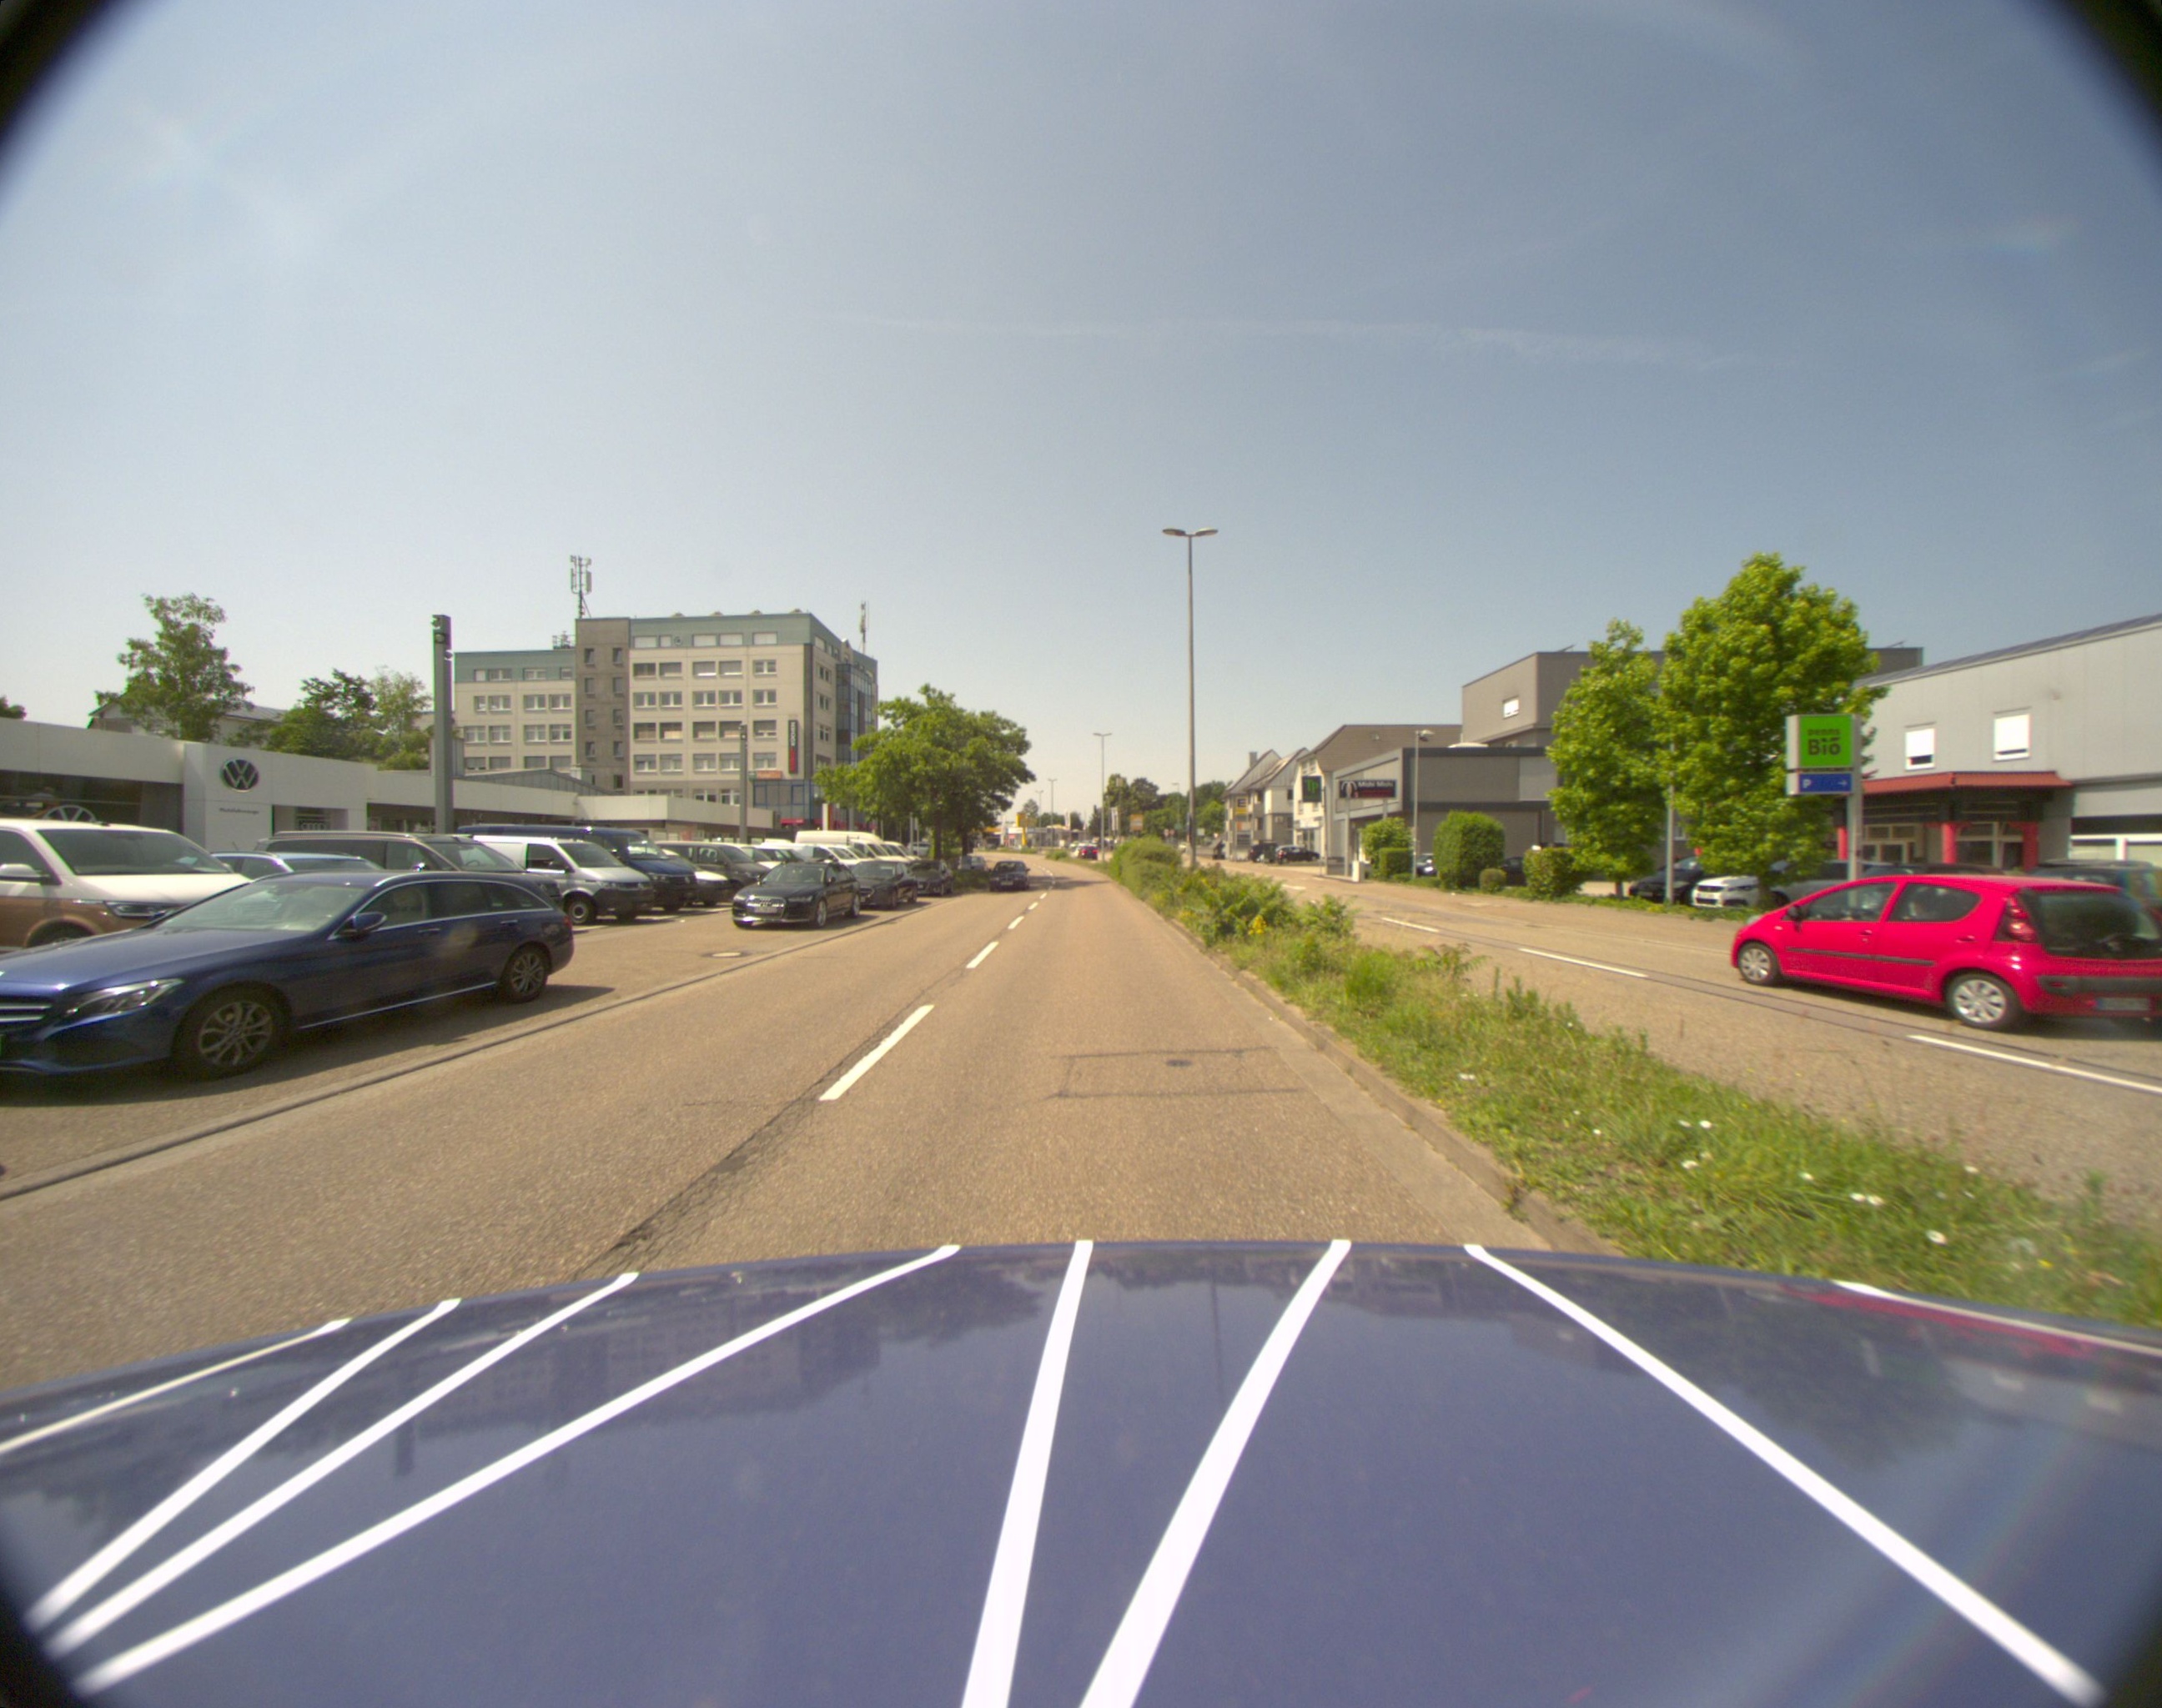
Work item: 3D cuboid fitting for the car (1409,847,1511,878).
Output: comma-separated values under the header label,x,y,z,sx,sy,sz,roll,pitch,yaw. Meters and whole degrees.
label,x,y,z,sx,sy,sz,roll,pitch,yaw
car,17.989,0.385,36.177,4.006,1.363,1.669,1,0,3

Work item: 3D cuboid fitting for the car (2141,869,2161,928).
label,x,y,z,sx,sy,sz,roll,pitch,yaw
car,29.156,1.178,18.446,3.985,1.459,2.072,1,1,-2

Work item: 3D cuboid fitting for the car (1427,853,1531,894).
label,x,y,z,sx,sy,sz,roll,pitch,yaw
car,16.788,0.813,32.161,3.489,1.521,1.777,-2,2,1

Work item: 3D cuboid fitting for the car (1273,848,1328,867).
label,x,y,z,sx,sy,sz,roll,pitch,yaw
car,18.493,0.266,64.151,4.068,1.512,1.999,0,2,-3

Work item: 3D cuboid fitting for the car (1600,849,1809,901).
label,x,y,z,sx,sy,sz,roll,pitch,yaw
car,17.255,0.560,21.189,4.159,1.334,2.042,1,0,-2

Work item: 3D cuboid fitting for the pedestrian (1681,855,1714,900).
label,x,y,z,sx,sy,sz,roll,pitch,yaw
pedestrian,22.028,0.837,27.158,0.581,1.570,0.703,-2,3,-1

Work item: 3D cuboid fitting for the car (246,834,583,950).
label,x,y,z,sx,sy,sz,roll,pitch,yaw
car,-12.730,0.716,14.746,4.798,1.972,2.004,-1,-1,1

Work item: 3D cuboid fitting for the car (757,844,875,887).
label,x,y,z,sx,sy,sz,roll,pitch,yaw
car,-12.741,0.505,36.744,4.925,1.960,2.141,1,1,1

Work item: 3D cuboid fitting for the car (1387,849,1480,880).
label,x,y,z,sx,sy,sz,roll,pitch,yaw
car,17.879,0.523,38.613,3.998,1.451,1.574,0,2,-4

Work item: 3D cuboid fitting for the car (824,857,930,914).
label,x,y,z,sx,sy,sz,roll,pitch,yaw
car,-6.441,0.921,24.618,1.966,1.521,5.160,2,0,0

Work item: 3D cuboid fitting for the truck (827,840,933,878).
label,x,y,z,sx,sy,sz,roll,pitch,yaw
truck,-13.044,0.325,49.638,6.260,2.323,2.369,1,0,2

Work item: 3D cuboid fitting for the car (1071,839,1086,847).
label,x,y,z,sx,sy,sz,roll,pitch,yaw
car,-0.426,-2.204,149.078,1.754,1.501,3.823,-1,2,17

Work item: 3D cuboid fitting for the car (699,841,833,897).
label,x,y,z,sx,sy,sz,roll,pitch,yaw
car,-12.815,0.566,31.101,4.520,2.002,2.197,2,2,1

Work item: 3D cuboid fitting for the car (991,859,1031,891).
label,x,y,z,sx,sy,sz,roll,pitch,yaw
car,-3.206,0.944,35.319,1.698,1.365,3.999,-1,0,-4

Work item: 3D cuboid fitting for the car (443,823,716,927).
label,x,y,z,sx,sy,sz,roll,pitch,yaw
car,-13.321,0.503,20.464,5.856,2.510,2.204,-2,2,3

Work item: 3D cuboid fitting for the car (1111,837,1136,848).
label,x,y,z,sx,sy,sz,roll,pitch,yaw
car,7.837,-2.085,140.532,4.300,1.891,1.831,1,3,19

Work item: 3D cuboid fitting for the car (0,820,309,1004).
label,x,y,z,sx,sy,sz,roll,pitch,yaw
car,-12.815,0.614,9.317,4.652,2.002,1.960,1,0,0

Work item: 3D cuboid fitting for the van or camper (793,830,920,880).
label,x,y,z,sx,sy,sz,roll,pitch,yaw
van or camper,-13.225,0.065,45.085,6.814,2.881,2.275,0,1,0

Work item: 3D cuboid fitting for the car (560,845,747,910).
label,x,y,z,sx,sy,sz,roll,pitch,yaw
car,-12.908,0.687,23.155,4.579,1.840,1.951,1,0,0

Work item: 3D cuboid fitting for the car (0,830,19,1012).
label,x,y,z,sx,sy,sz,roll,pitch,yaw
car,-12.585,0.659,6.530,4.161,1.771,1.880,1,2,0

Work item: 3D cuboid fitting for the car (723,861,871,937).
label,x,y,z,sx,sy,sz,roll,pitch,yaw
car,-6.707,0.980,18.646,1.860,1.472,5.154,2,0,-3

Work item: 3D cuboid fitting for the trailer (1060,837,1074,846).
label,x,y,z,sx,sy,sz,roll,pitch,yaw
trailer,-2.819,-2.426,152.279,1.689,1.694,2.438,0,2,29

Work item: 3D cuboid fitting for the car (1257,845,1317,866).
label,x,y,z,sx,sy,sz,roll,pitch,yaw
car,18.105,0.100,66.845,4.620,1.488,1.751,-4,1,-8

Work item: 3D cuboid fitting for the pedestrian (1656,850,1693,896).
label,x,y,z,sx,sy,sz,roll,pitch,yaw
pedestrian,21.113,0.657,27.045,0.643,1.576,0.825,-2,3,-1

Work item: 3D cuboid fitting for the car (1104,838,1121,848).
label,x,y,z,sx,sy,sz,roll,pitch,yaw
car,5.880,-2.152,142.657,1.847,1.714,4.006,-2,3,-18

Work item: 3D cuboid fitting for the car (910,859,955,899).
label,x,y,z,sx,sy,sz,roll,pitch,yaw
car,-6.093,0.969,31.255,1.687,1.427,4.434,-1,1,-11

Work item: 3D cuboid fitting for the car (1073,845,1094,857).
label,x,y,z,sx,sy,sz,roll,pitch,yaw
car,0.309,-0.376,94.276,1.869,1.423,4.739,-2,1,-9

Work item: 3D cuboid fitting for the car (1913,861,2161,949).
label,x,y,z,sx,sy,sz,roll,pitch,yaw
car,17.189,0.837,13.100,3.667,1.356,1.780,1,0,1

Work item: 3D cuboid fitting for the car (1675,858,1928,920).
label,x,y,z,sx,sy,sz,roll,pitch,yaw
car,17.267,0.807,18.378,4.234,1.341,1.980,1,0,0

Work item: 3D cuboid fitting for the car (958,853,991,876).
label,x,y,z,sx,sy,sz,roll,pitch,yaw
car,-7.436,0.726,53.378,1.802,1.398,4.319,-2,1,-1

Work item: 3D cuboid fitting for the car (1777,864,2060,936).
label,x,y,z,sx,sy,sz,roll,pitch,yaw
car,17.334,0.916,15.884,3.848,1.326,1.859,1,0,0

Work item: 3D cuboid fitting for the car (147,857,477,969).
label,x,y,z,sx,sy,sz,roll,pitch,yaw
car,-11.999,0.887,12.003,3.638,1.561,1.717,-1,1,6

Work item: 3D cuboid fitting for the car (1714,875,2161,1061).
label,x,y,z,sx,sy,sz,roll,pitch,yaw
car,8.981,1.007,8.090,1.634,1.416,3.450,0,1,1

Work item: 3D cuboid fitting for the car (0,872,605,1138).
label,x,y,z,sx,sy,sz,roll,pitch,yaw
car,-6.897,1.038,7.300,1.718,1.539,4.789,0,1,-2

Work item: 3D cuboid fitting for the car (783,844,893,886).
label,x,y,z,sx,sy,sz,roll,pitch,yaw
car,-12.538,0.561,39.447,4.961,2.101,2.159,0,1,-1

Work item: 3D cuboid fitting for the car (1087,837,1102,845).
label,x,y,z,sx,sy,sz,roll,pitch,yaw
car,2.572,-2.485,143.885,1.712,1.424,3.967,1,3,21

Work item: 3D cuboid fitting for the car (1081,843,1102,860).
label,x,y,z,sx,sy,sz,roll,pitch,yaw
car,1.143,-0.281,87.084,1.914,1.741,4.756,-2,2,-5

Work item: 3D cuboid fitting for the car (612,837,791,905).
label,x,y,z,sx,sy,sz,roll,pitch,yaw
car,-12.653,0.547,25.584,4.912,2.102,2.129,1,0,0

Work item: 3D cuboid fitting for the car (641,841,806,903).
label,x,y,z,sx,sy,sz,roll,pitch,yaw
car,-13.090,0.620,28.036,5.077,2.085,2.040,2,1,0

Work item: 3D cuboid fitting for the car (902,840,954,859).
label,x,y,z,sx,sy,sz,roll,pitch,yaw
car,-15.445,-0.489,76.827,4.745,1.704,1.995,-3,3,-25

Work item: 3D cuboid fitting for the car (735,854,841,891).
label,x,y,z,sx,sy,sz,roll,pitch,yaw
car,-13.083,0.802,34.153,4.035,1.462,1.913,2,0,-6

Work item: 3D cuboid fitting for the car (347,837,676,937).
label,x,y,z,sx,sy,sz,roll,pitch,yaw
car,-12.962,0.727,17.615,5.908,2.001,2.259,-2,-1,1

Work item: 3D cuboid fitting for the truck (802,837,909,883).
label,x,y,z,sx,sy,sz,roll,pitch,yaw
truck,-12.466,0.301,42.246,5.259,2.422,2.111,1,1,2

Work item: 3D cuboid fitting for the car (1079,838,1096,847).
label,x,y,z,sx,sy,sz,roll,pitch,yaw
car,1.242,-2.221,147.052,1.914,1.532,3.967,-1,2,22

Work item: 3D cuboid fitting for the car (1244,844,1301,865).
label,x,y,z,sx,sy,sz,roll,pitch,yaw
car,17.547,0.019,69.760,4.617,1.618,1.853,-4,1,0
